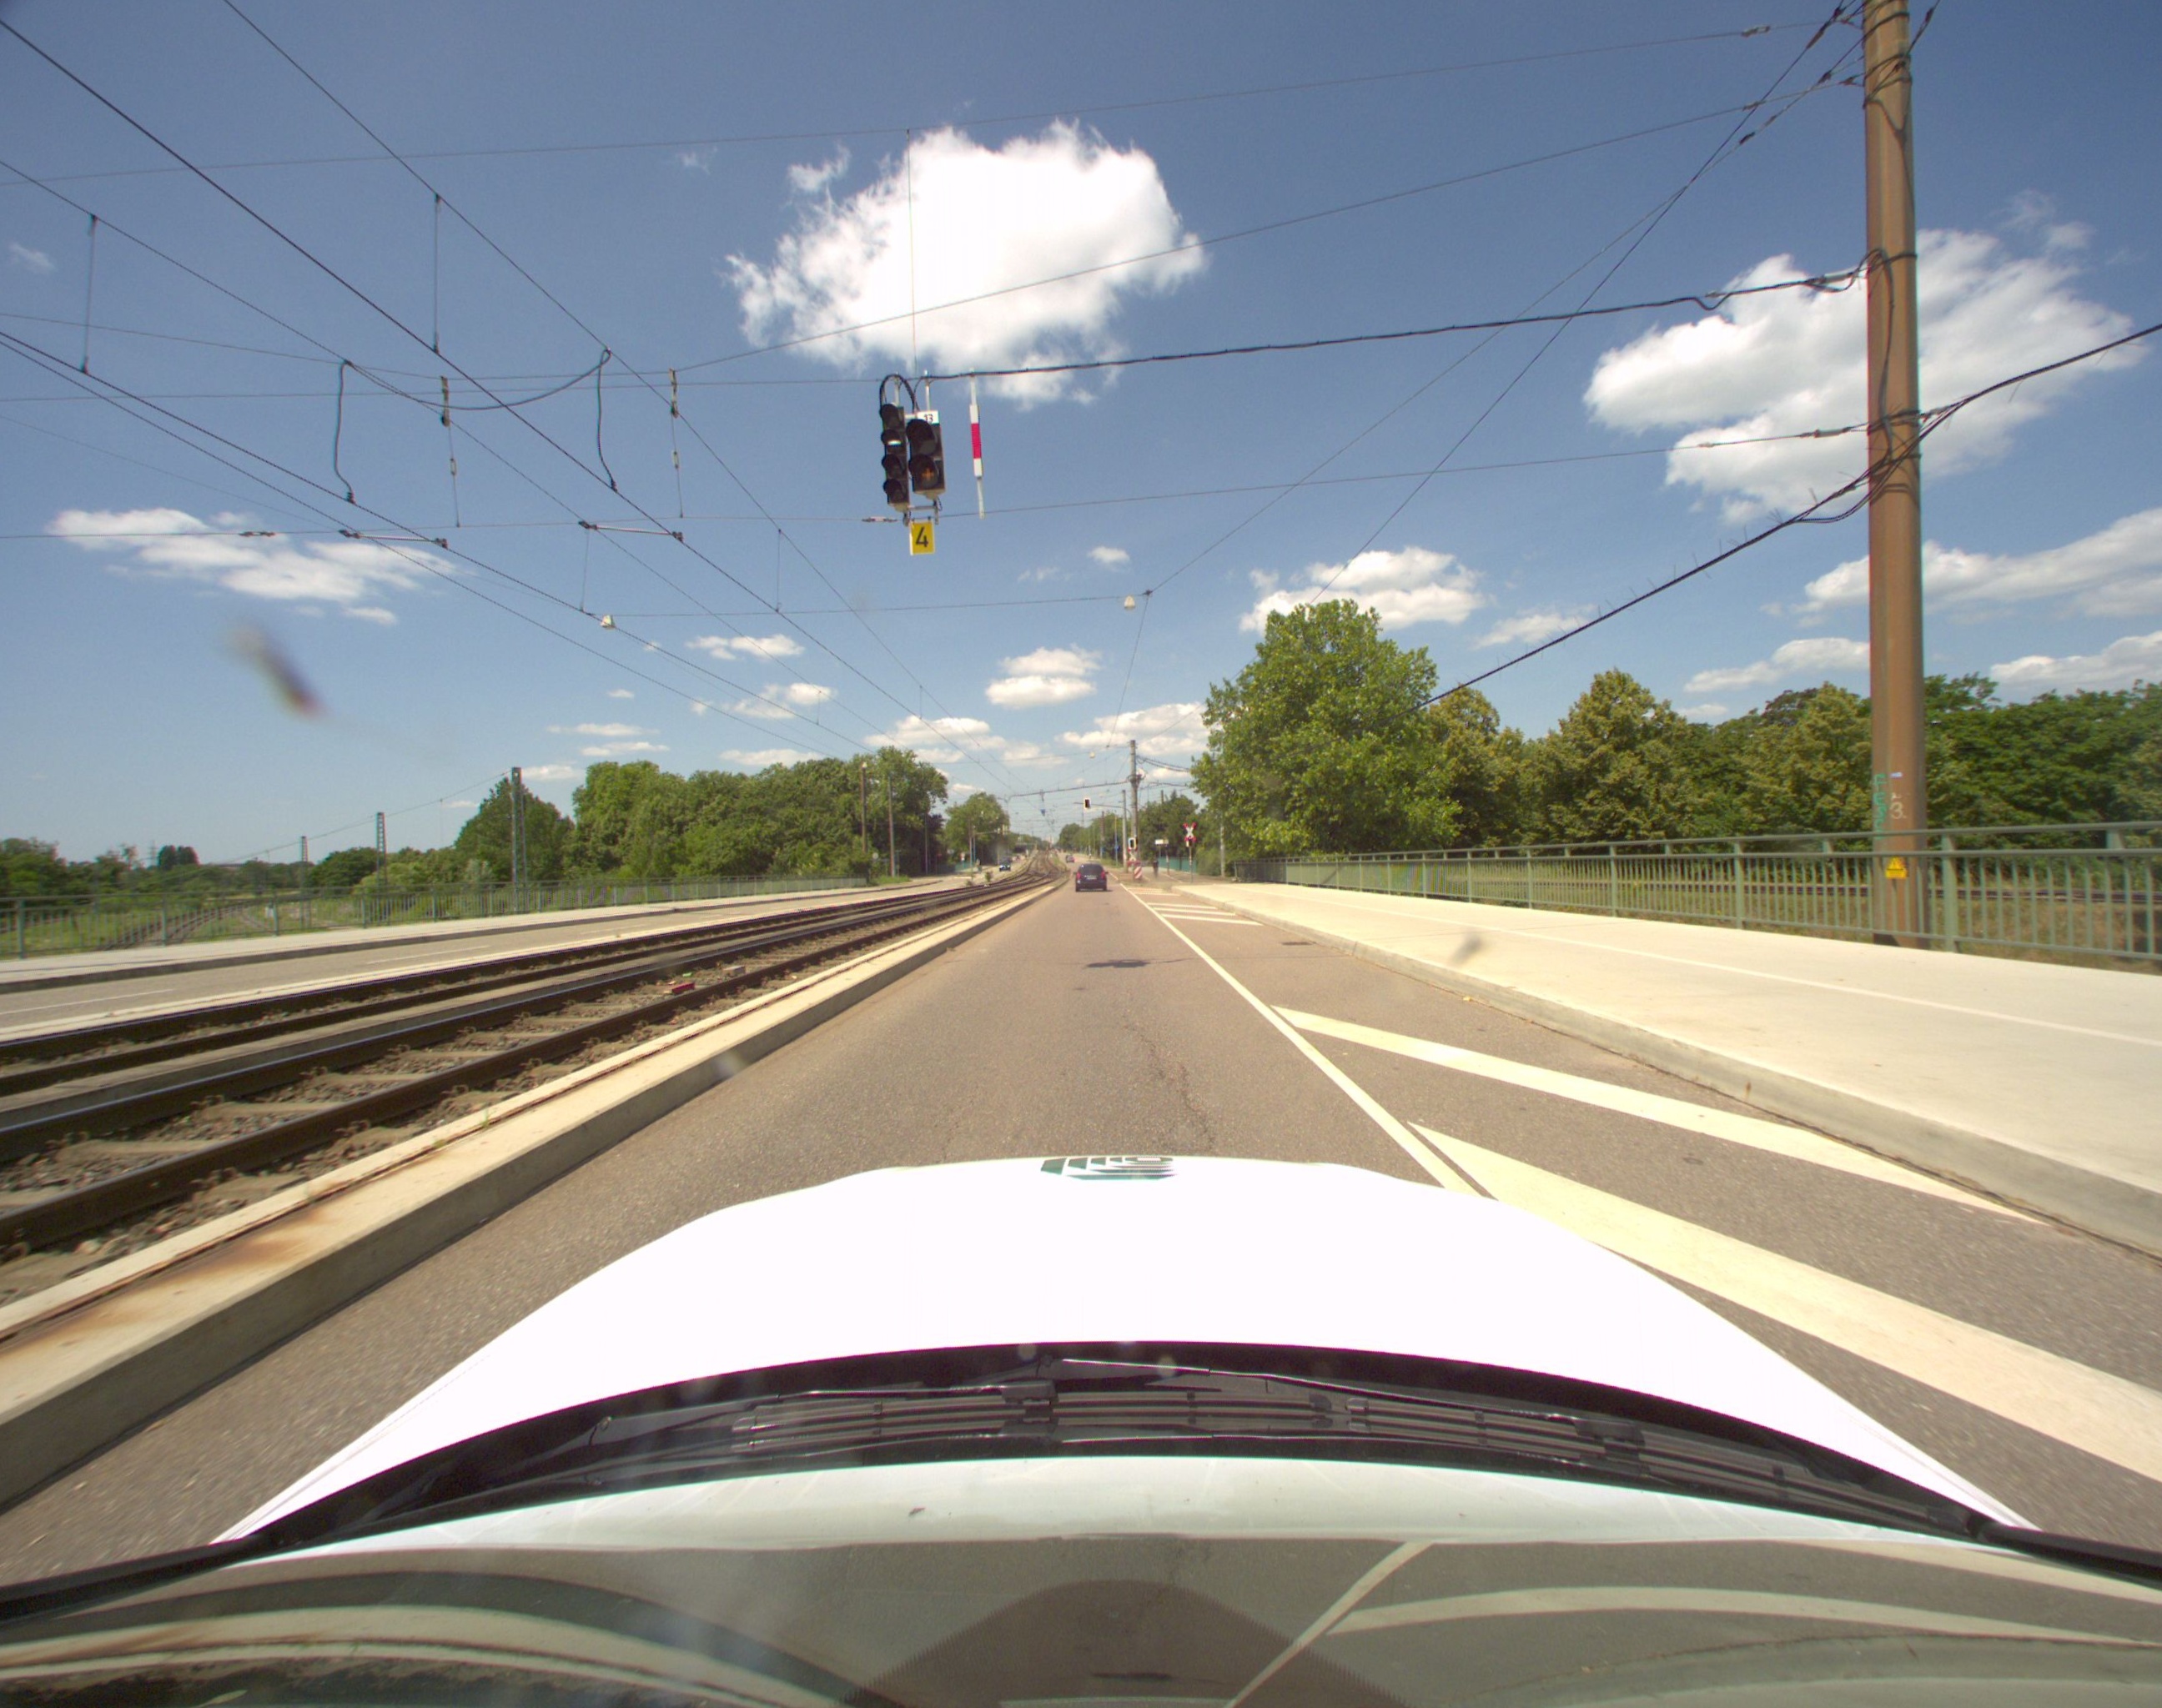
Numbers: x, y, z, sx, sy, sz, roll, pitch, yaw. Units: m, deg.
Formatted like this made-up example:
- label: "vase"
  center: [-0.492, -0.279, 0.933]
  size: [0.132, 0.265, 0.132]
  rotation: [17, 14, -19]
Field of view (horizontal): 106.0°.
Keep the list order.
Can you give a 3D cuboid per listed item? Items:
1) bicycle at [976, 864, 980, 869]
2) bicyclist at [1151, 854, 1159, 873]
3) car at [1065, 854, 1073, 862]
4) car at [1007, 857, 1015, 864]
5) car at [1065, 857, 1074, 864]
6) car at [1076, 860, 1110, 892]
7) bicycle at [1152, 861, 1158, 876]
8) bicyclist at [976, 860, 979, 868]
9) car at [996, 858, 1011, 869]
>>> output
- label: "bicycle"
  center: [-18.798, 2.244, 148.380]
  size: [0.467, 0.868, 1.742]
  rotation: [-1, 0, 0]
- label: "bicyclist"
  center: [6.109, 0.789, 67.160]
  size: [0.583, 1.494, 0.558]
  rotation: [0, 1, 2]
- label: "car"
  center: [-3.303, 1.086, 226.804]
  size: [1.987, 2.013, 4.001]
  rotation: [0, 1, 1]
- label: "car"
  center: [-20.551, 1.826, 240.580]
  size: [1.988, 2.014, 3.997]
  rotation: [-2, -1, -1]
- label: "car"
  center: [-2.613, 1.493, 191.032]
  size: [1.878, 1.639, 4.002]
  rotation: [2, 1, 2]
- label: "car"
  center: [0.687, 1.207, 46.392]
  size: [1.846, 1.570, 4.390]
  rotation: [-1, 2, 1]
- label: "bicycle"
  center: [6.120, 1.212, 67.304]
  size: [0.430, 1.152, 1.856]
  rotation: [0, 1, 3]
- label: "bicyclist"
  center: [-18.814, 1.782, 148.461]
  size: [0.455, 1.474, 0.633]
  rotation: [-1, 0, 0]
- label: "car"
  center: [-11.968, 1.450, 125.838]
  size: [1.698, 1.510, 3.735]
  rotation: [-3, 0, 2]
